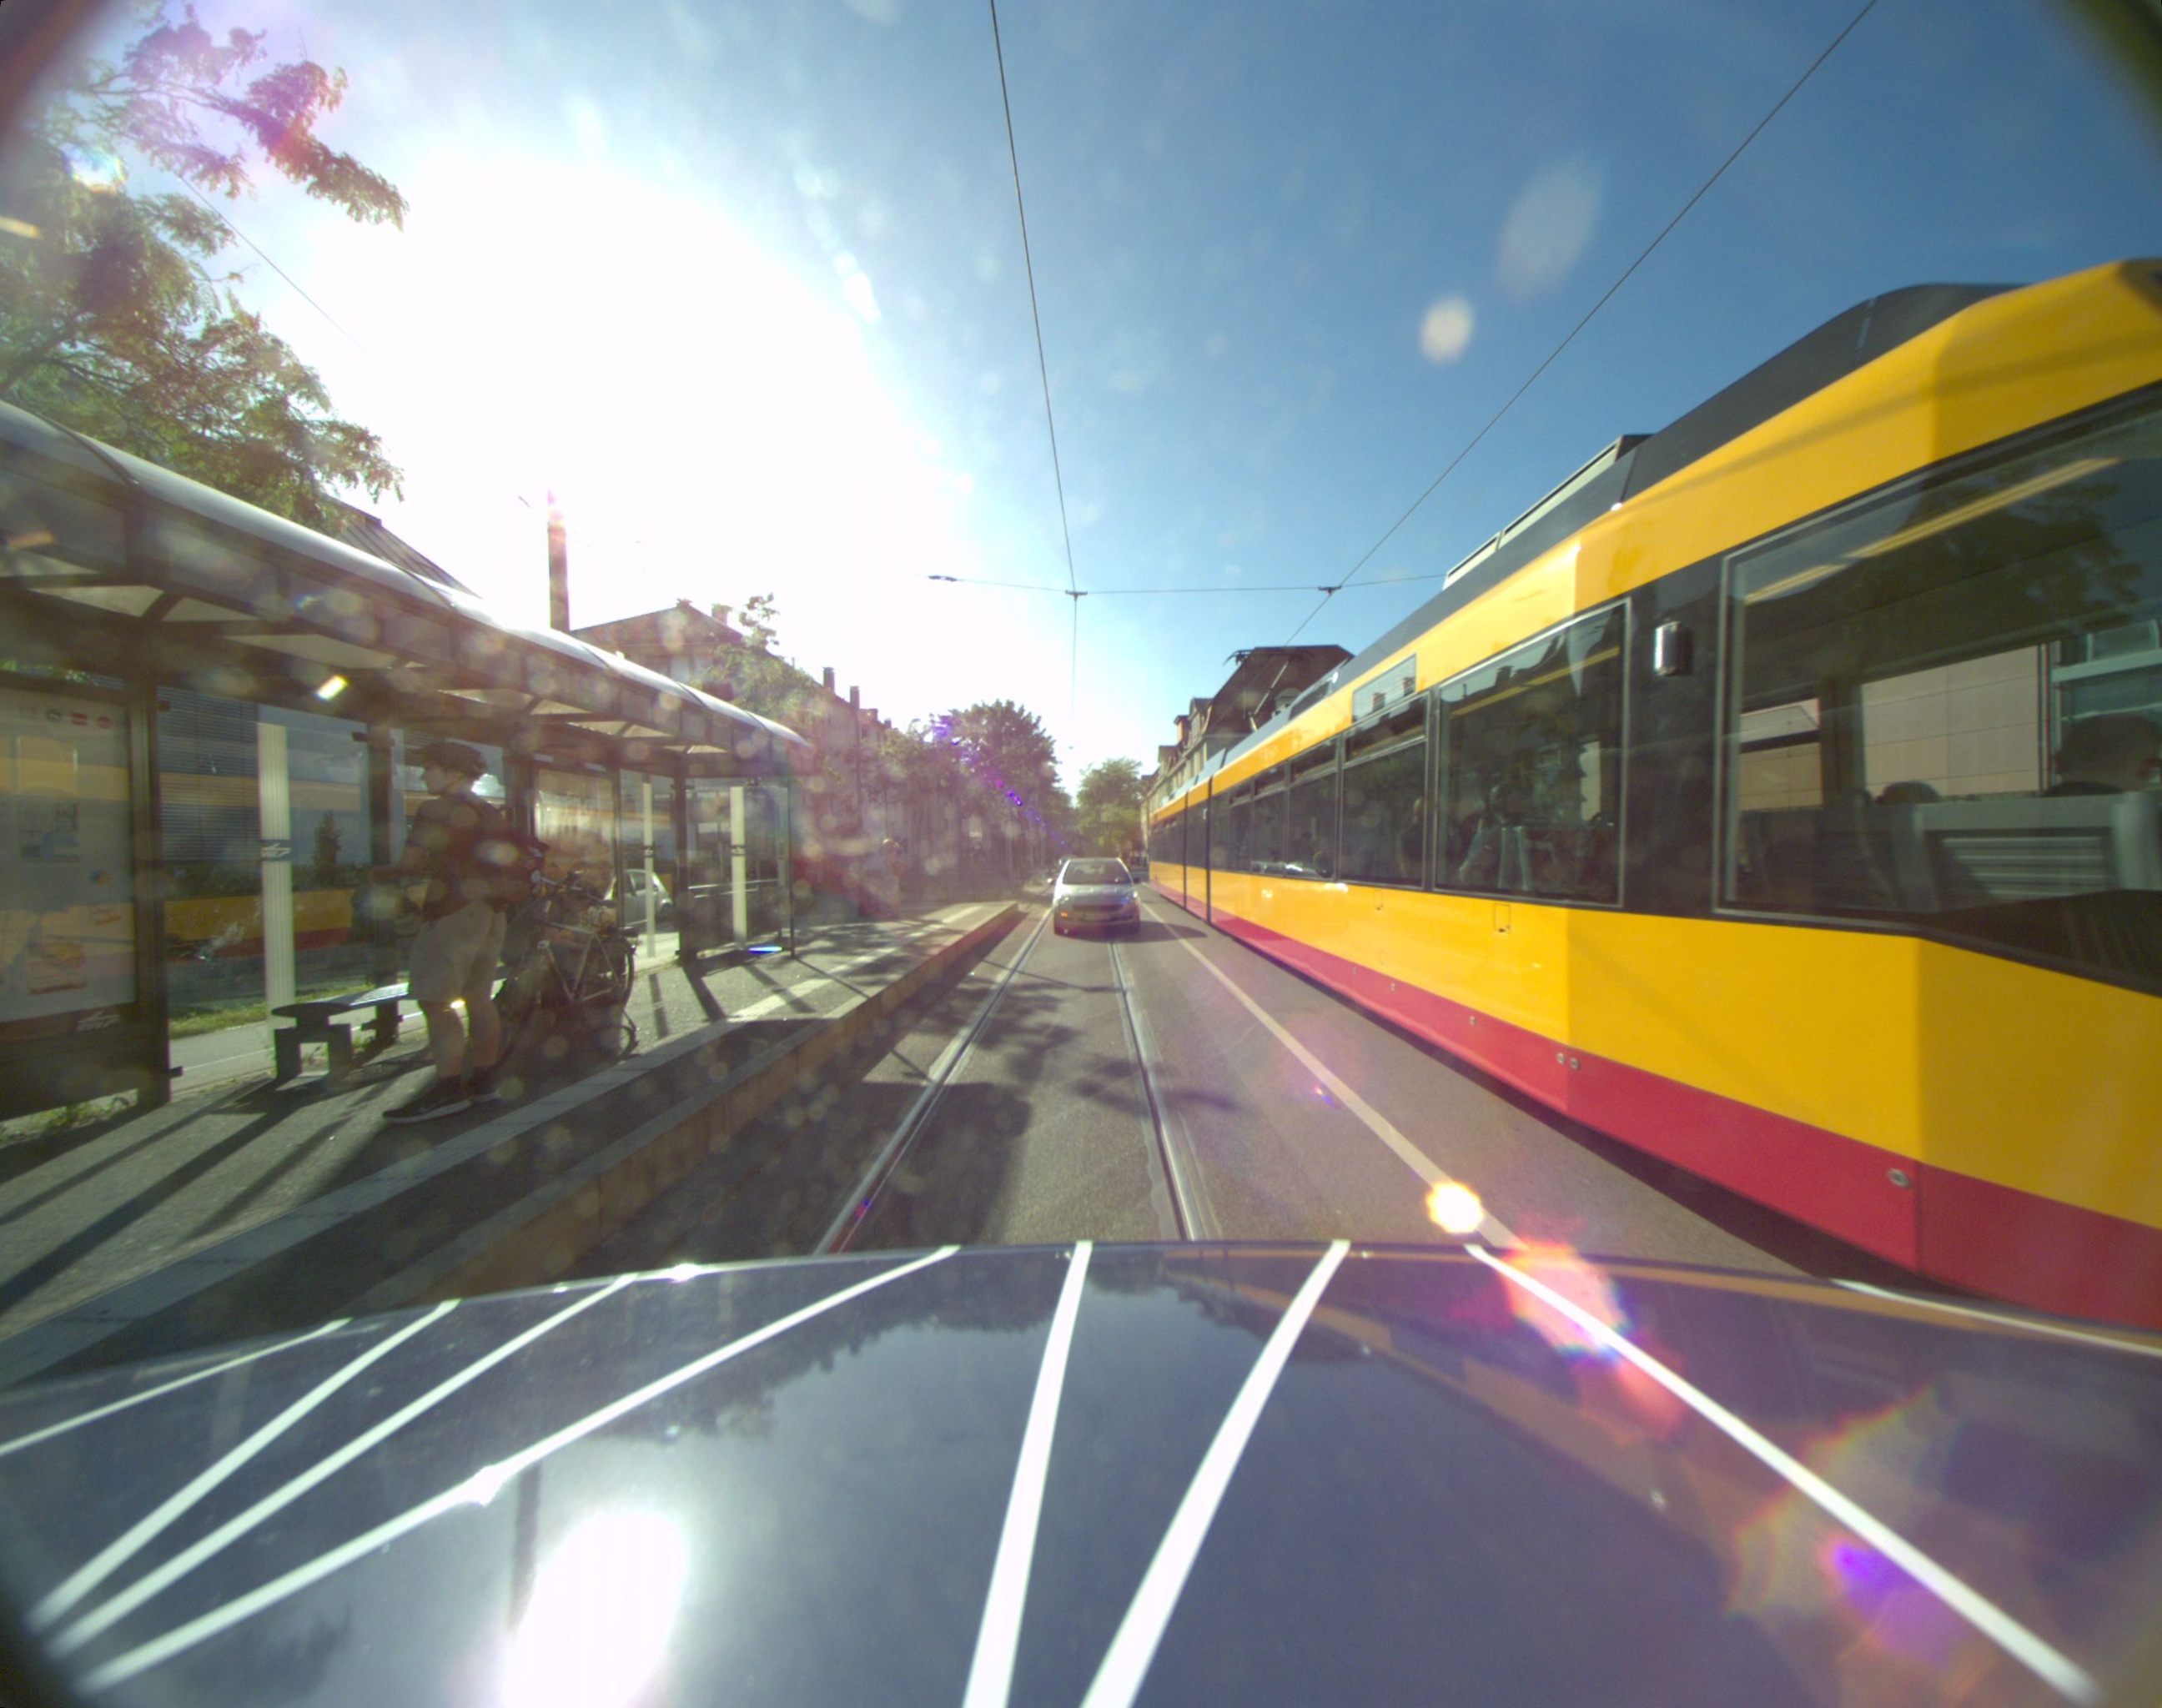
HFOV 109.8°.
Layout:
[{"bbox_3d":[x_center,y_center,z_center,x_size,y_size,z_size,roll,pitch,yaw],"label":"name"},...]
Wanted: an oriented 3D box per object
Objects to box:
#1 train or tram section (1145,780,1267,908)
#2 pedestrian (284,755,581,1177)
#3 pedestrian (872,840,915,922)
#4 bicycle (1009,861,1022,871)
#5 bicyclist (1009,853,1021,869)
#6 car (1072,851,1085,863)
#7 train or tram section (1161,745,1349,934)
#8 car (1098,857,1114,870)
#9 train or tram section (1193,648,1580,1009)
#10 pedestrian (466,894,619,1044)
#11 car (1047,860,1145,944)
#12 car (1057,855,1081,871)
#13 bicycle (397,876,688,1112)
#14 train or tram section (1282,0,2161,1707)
[{"bbox_3d":[3.709,-0.284,24.155,2.811,3.439,6.668,-2,0,1],"label":"train or tram section"},{"bbox_3d":[-3.104,0.499,3.720,0.712,1.843,0.729,-3,1,3],"label":"pedestrian"},{"bbox_3d":[-4.013,0.557,16.286,0.673,1.694,0.690,-3,1,0],"label":"pedestrian"},{"bbox_3d":[-6.098,1.091,70.340,0.826,0.880,2.199,-1,0,5],"label":"bicycle"},{"bbox_3d":[-6.110,0.647,70.273,0.818,1.491,1.259,-1,0,5],"label":"bicyclist"},{"bbox_3d":[-0.422,0.439,117.769,1.825,1.751,3.692,-3,0,-3],"label":"car"},{"bbox_3d":[3.591,-0.276,17.455,2.811,3.439,6.668,-2,0,1],"label":"train or tram section"},{"bbox_3d":[2.927,1.064,89.200,1.742,1.450,4.405,-1,0,0],"label":"car"},{"bbox_3d":[3.474,-0.250,10.754,2.811,3.439,6.668,-2,0,1],"label":"train or tram section"},{"bbox_3d":[-4.455,0.928,6.328,0.740,1.111,0.658,-3,1,0],"label":"pedestrian"},{"bbox_3d":[0.267,0.888,15.568,1.742,1.450,3.693,-1,0,0],"label":"car"},{"bbox_3d":[-1.145,0.808,70.804,1.743,1.450,3.691,-1,0,-8],"label":"car"},{"bbox_3d":[-3.497,0.808,5.209,0.621,1.222,1.966,-2,1,-3],"label":"bicycle"},{"bbox_3d":[3.353,-0.226,4.048,2.811,3.439,6.668,-2,0,1],"label":"train or tram section"}]
